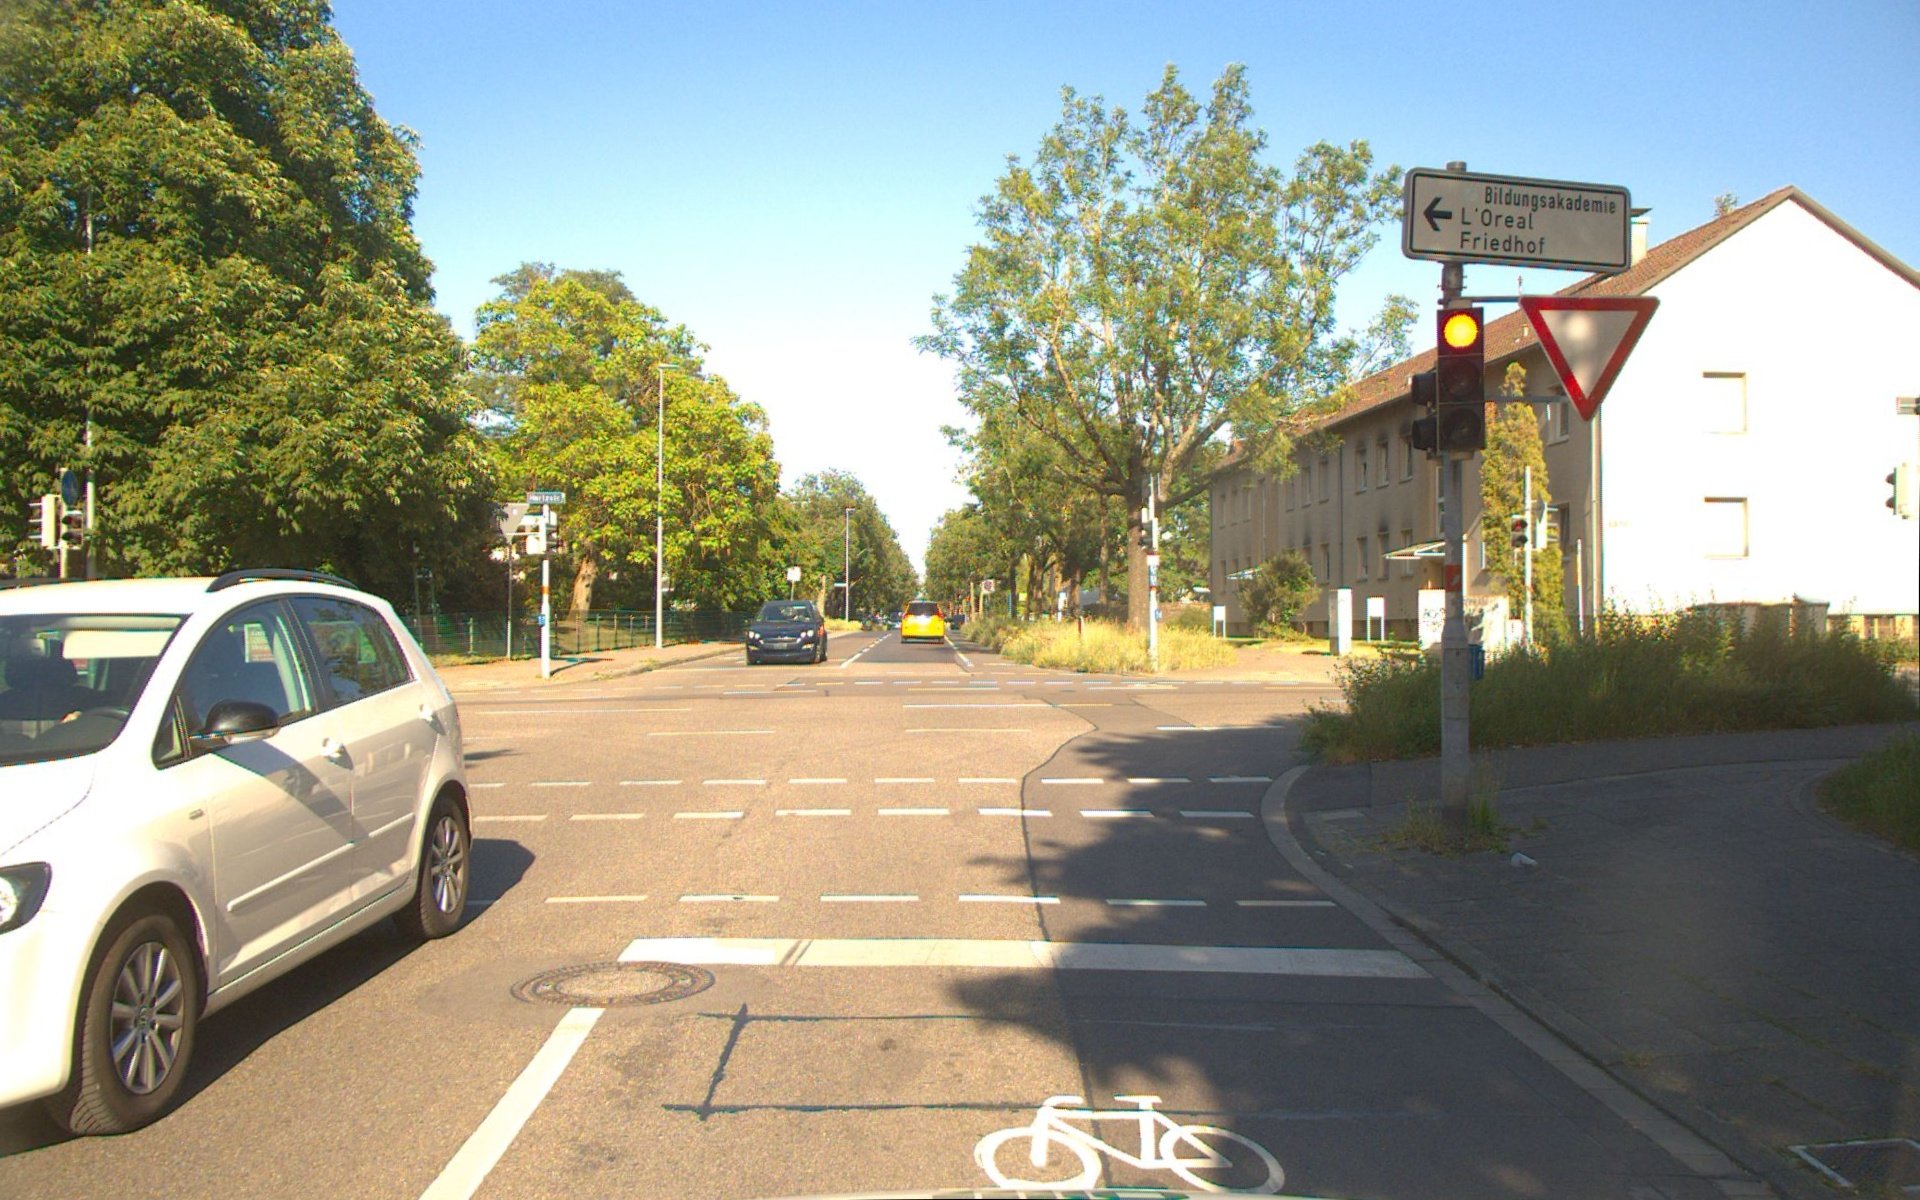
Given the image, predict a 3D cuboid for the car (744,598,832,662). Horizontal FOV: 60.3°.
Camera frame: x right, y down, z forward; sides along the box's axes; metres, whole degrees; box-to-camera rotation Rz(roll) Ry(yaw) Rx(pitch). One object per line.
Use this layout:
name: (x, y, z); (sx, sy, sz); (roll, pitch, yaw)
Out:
car: (-3.964, 0.663, 38.544); (1.676, 1.410, 3.471); (0, 0, 0)

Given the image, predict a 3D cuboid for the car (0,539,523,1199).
car: (-3.054, 0.667, 5.888); (1.715, 1.590, 4.121); (-3, 1, 2)

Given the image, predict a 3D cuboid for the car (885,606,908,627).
car: (-5.248, 1.369, 136.943); (1.722, 1.653, 3.268); (0, 0, 0)

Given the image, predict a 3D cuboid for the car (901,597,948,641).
car: (-1.338, 0.732, 63.412); (1.716, 1.610, 3.999); (1, 0, -1)

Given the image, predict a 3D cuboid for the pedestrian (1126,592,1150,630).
pedestrian: (7.402, 0.461, 68.850); (0.825, 1.519, 0.924); (2, 0, -1)

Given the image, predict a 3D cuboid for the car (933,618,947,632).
car: (-2.657, 3.352, 219.146); (1.737, 1.785, 3.999); (1, 0, -1)
